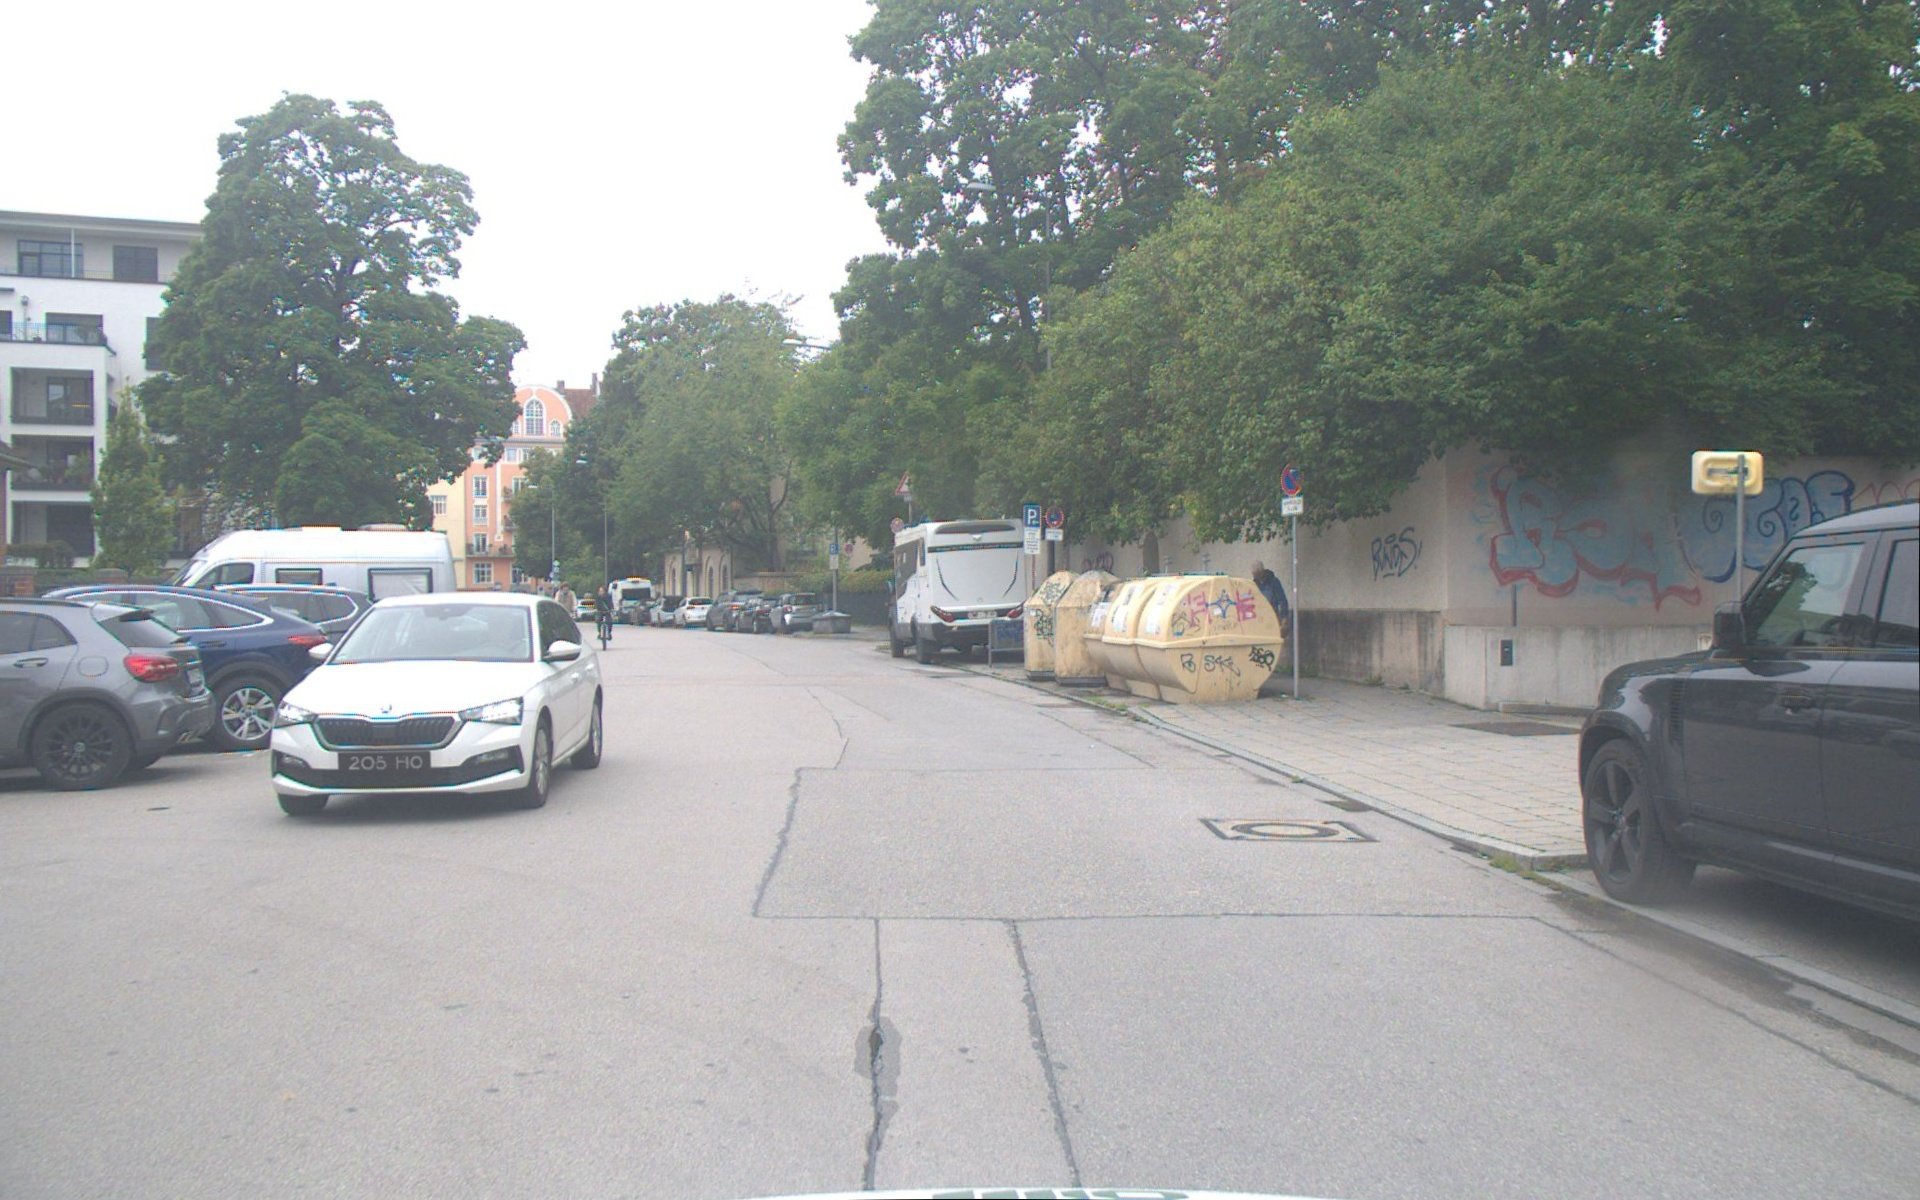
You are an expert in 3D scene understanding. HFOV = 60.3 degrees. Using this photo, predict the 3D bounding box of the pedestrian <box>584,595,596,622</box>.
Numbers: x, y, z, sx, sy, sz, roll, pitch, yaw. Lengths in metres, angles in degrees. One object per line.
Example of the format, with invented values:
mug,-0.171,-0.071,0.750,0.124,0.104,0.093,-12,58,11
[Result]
pedestrian,-27.328,0.623,122.140,0.762,2.049,0.559,0,0,-23

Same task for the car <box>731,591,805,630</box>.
car,-7.848,0.427,67.249,1.852,1.452,4.191,-3,1,-23

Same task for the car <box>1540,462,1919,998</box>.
car,4.336,0.464,6.726,1.948,1.904,5.074,0,0,-3

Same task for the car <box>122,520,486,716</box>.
car,-9.630,0.181,24.386,4.583,2.608,2.207,-2,1,-35

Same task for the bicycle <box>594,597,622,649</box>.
bicycle,-9.302,0.597,43.670,0.694,1.328,2.111,-1,0,-13

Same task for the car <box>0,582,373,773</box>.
car,-8.358,0.724,16.317,4.475,1.621,1.941,-3,1,-35

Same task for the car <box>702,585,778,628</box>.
car,-9.554,0.272,71.536,1.967,1.741,4.849,-3,1,-23

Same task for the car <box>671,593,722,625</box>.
car,-12.843,0.446,80.484,1.661,1.466,3.976,-2,0,-20

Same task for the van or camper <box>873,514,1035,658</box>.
van or camper,-0.294,-0.323,37.879,2.233,2.957,7.254,-1,0,-12

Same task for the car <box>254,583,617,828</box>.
car,-3.696,0.643,12.396,1.738,1.501,4.129,-1,0,-6

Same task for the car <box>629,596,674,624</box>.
car,-16.909,0.544,90.559,1.683,1.393,4.413,-2,1,-20

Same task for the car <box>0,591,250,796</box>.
car,-8.297,0.764,13.553,4.258,1.556,1.926,-1,-1,-15

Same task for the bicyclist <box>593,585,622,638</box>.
bicyclist,-9.261,0.300,43.472,0.684,1.376,0.928,-1,0,-11

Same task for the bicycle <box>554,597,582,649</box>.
bicycle,-10.241,0.583,43.192,0.695,1.328,2.110,-1,0,-14

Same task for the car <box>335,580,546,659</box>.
car,-12.597,0.458,40.283,4.487,1.694,1.958,-3,0,-41

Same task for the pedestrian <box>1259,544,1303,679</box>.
pedestrian,4.883,0.167,25.191,0.615,2.019,0.799,-1,0,10

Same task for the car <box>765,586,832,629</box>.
car,-6.233,0.303,63.464,1.716,1.563,2.924,-3,0,-23

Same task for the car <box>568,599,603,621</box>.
car,-25.816,0.680,113.990,1.683,1.432,4.102,-2,1,-22

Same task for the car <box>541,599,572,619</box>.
car,-31.147,0.695,127.563,1.648,1.367,3.810,-2,2,-24

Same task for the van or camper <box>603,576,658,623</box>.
van or camper,-19.358,-0.028,96.930,2.161,2.594,5.691,-2,1,-21

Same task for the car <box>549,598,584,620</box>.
car,-29.185,0.640,122.525,1.780,1.491,3.808,-2,2,-24

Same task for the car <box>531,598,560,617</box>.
car,-33.096,0.596,132.051,1.648,1.367,3.810,-2,2,-24

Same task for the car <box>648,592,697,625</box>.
car,-14.838,0.417,85.188,1.682,1.564,4.214,-3,1,-20

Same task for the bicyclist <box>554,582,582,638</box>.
bicyclist,-10.229,0.249,43.147,0.685,1.422,0.926,-1,0,-15

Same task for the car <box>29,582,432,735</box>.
car,-9.375,0.697,21.378,4.475,1.653,1.943,-2,-1,-35

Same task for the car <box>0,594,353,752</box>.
car,-9.325,0.792,18.606,4.369,1.512,1.812,-3,0,-34
